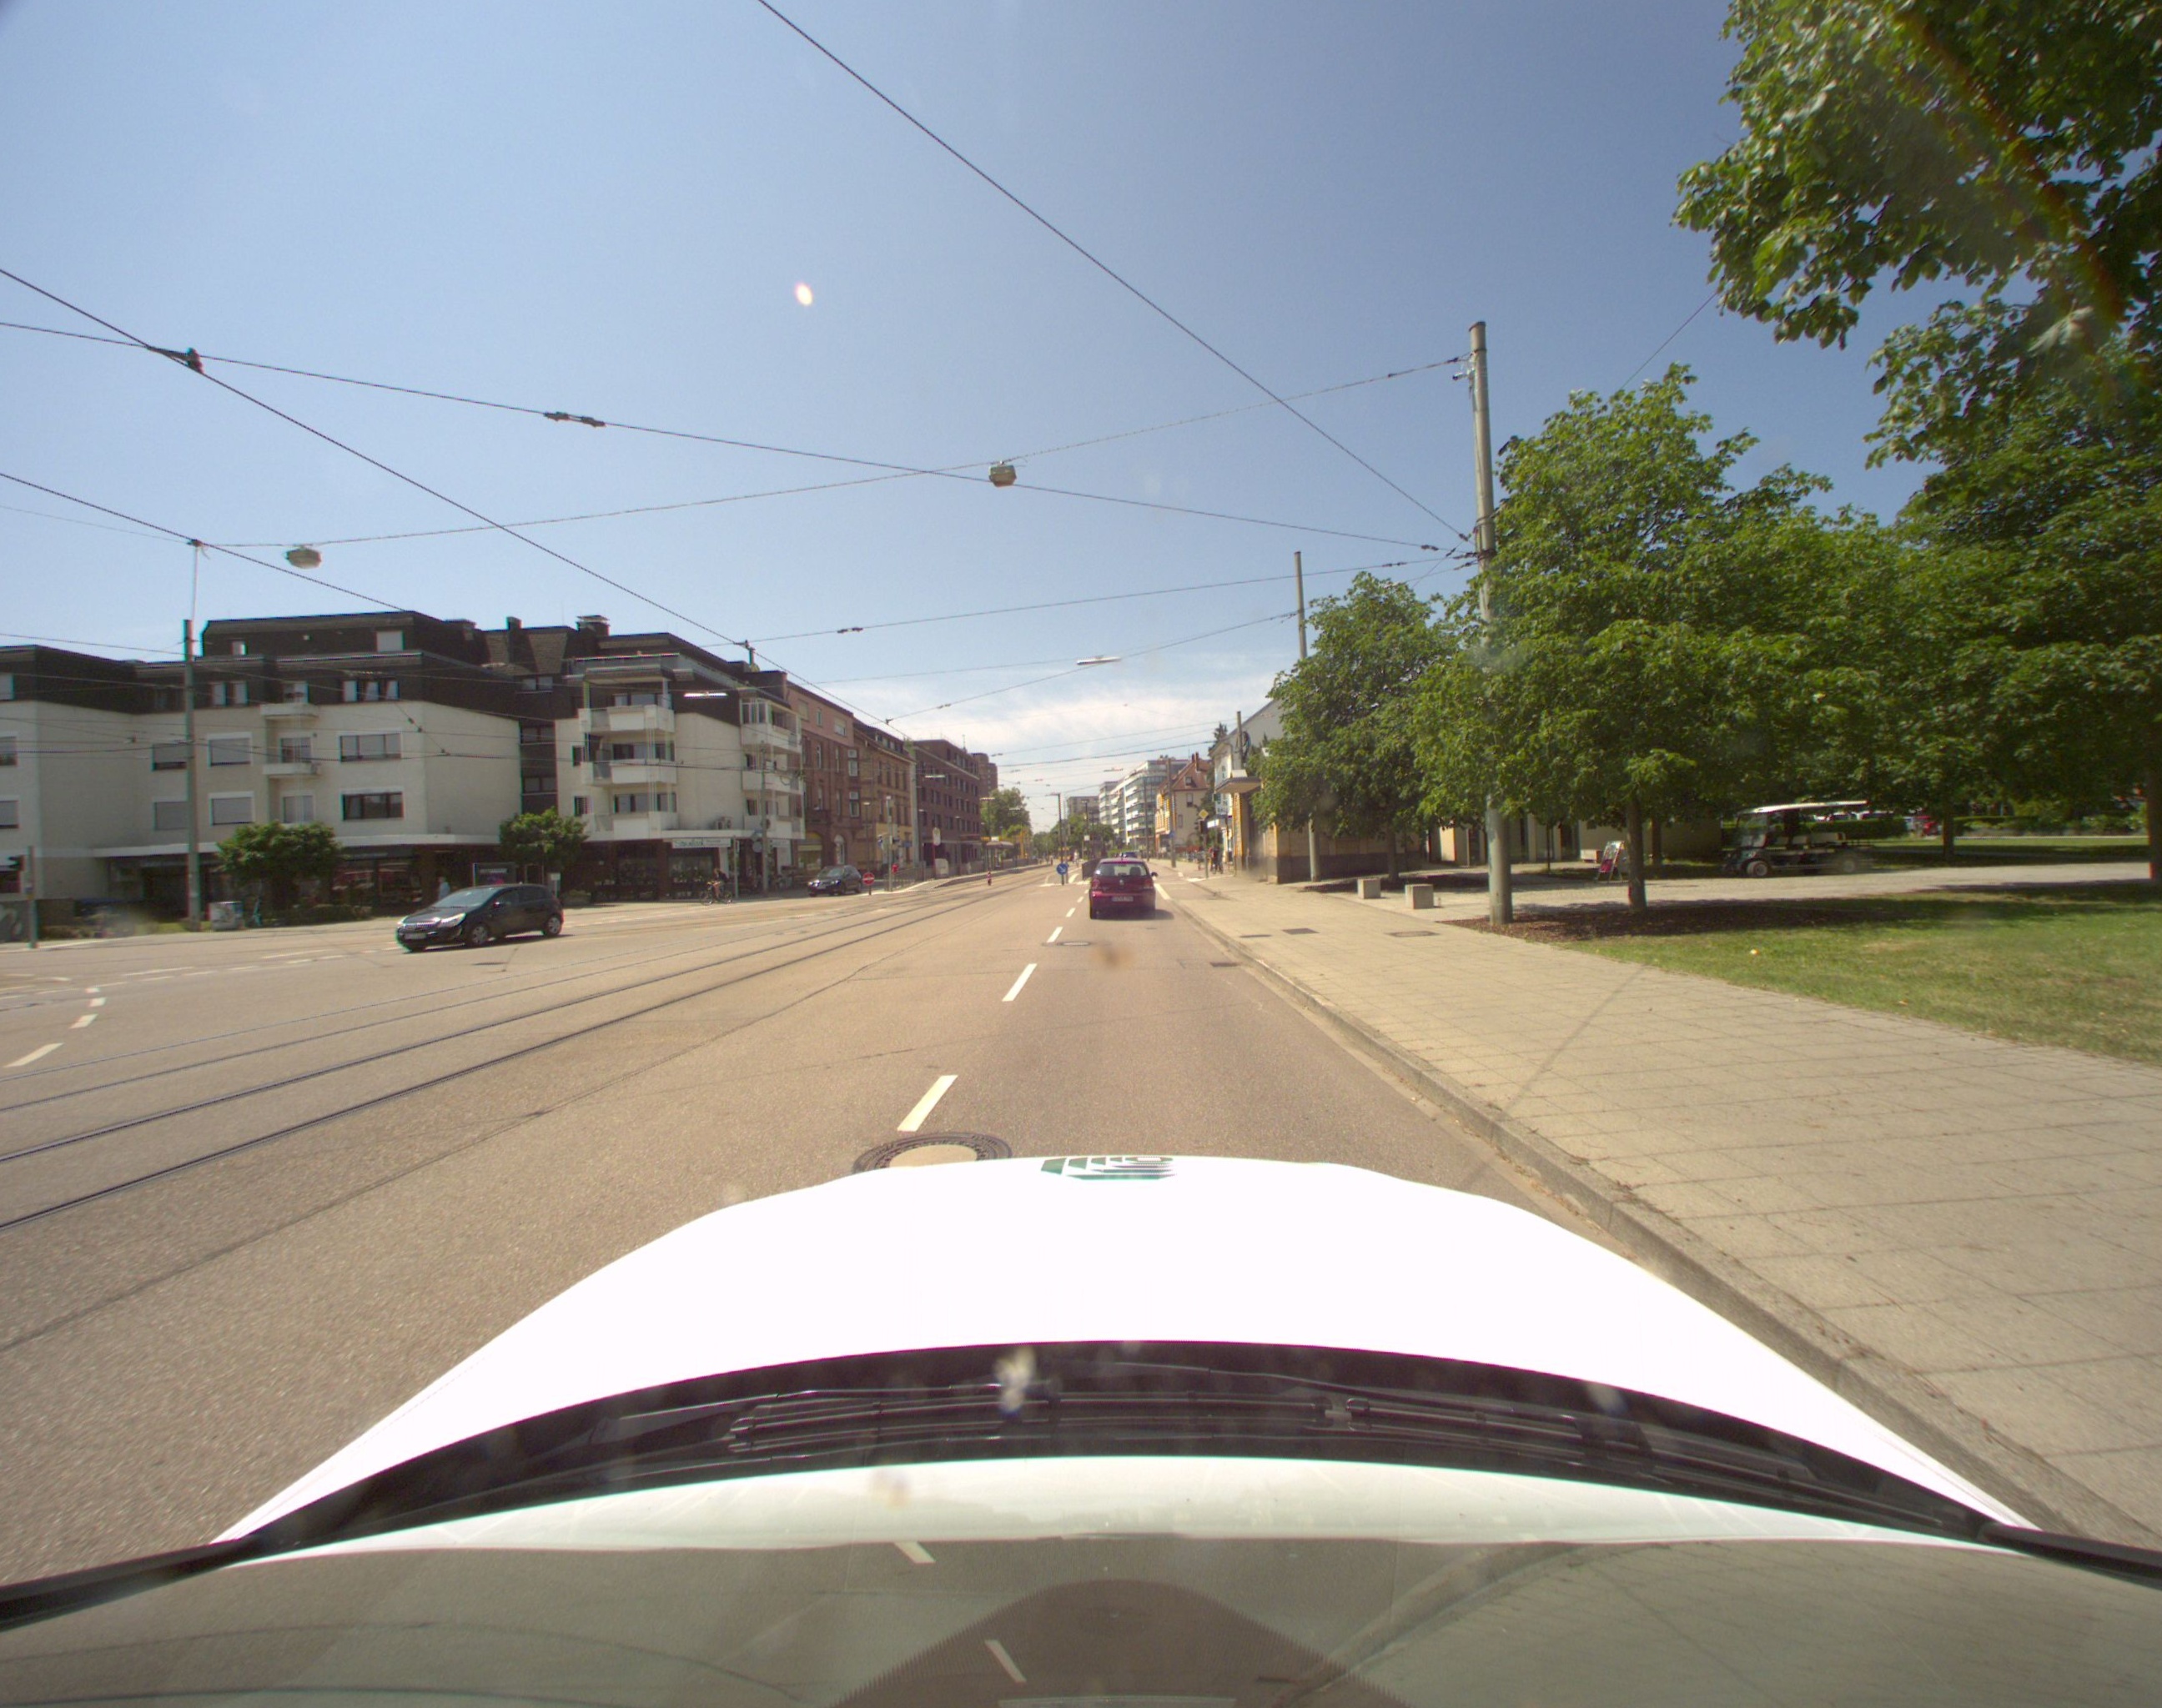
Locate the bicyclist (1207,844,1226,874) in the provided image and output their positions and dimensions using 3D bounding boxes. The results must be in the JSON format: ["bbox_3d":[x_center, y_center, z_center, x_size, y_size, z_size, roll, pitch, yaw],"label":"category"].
[{"bbox_3d":[7.838,0.297,47.063,0.829,1.618,0.860,-6,1,1],"label":"bicyclist"}]

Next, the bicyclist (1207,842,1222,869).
[{"bbox_3d":[8.905,0.114,54.411,0.721,1.760,0.929,-3,0,22],"label":"bicyclist"}]

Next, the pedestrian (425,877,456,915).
[{"bbox_3d":[-29.682,1.927,37.735,0.693,1.696,0.812,-3,0,19],"label":"pedestrian"}]

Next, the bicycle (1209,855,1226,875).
[{"bbox_3d":[7.877,0.606,47.048,0.666,1.002,1.864,-6,2,2],"label":"bicycle"}]

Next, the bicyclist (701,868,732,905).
[{"bbox_3d":[-17.947,1.594,40.124,0.725,1.762,1.141,-3,0,26],"label":"bicyclist"}]

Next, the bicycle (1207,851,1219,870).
[{"bbox_3d":[8.801,0.403,54.163,0.372,1.197,1.915,-3,0,21],"label":"bicycle"}]

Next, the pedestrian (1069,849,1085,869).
[{"bbox_3d":[-0.323,0.401,69.559,0.755,1.674,1.107,-3,0,38],"label":"pedestrian"}]

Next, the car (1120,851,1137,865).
[{"bbox_3d":[5.851,0.517,100.928,1.985,1.624,4.636,-3,0,3],"label":"car"}]

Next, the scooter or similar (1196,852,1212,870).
[{"bbox_3d":[8.481,0.479,56.243,0.340,1.178,1.457,-2,0,-21],"label":"scooter or similar"}]

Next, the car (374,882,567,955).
[{"bbox_3d":[-15.122,1.543,20.466,1.702,1.438,3.870,-3,0,4],"label":"car"}]

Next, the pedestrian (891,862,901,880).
[{"bbox_3d":[-16.611,1.509,73.121,0.612,1.560,0.640,-3,0,2],"label":"pedestrian"}]

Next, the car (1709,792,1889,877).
[{"bbox_3d":[19.015,-0.489,21.659,3.317,2.014,1.465,-3,-2,3],"label":"car"}]

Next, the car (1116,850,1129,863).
[{"bbox_3d":[6.463,0.407,126.849,1.985,1.848,4.003,-3,0,3],"label":"car"}]

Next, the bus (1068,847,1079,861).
[{"bbox_3d":[-1.703,0.036,189.005,2.140,3.003,6.566,-3,0,-3],"label":"bus"}]

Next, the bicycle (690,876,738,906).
[{"bbox_3d":[-18.011,1.795,40.010,0.670,1.304,2.117,-3,0,26],"label":"bicycle"}]

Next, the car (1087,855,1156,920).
[{"bbox_3d":[1.010,0.785,20.671,1.555,1.453,3.063,-3,0,2],"label":"car"}]

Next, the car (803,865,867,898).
[{"bbox_3d":[-13.603,1.472,45.256,1.785,1.579,4.501,-3,0,5],"label":"car"}]
